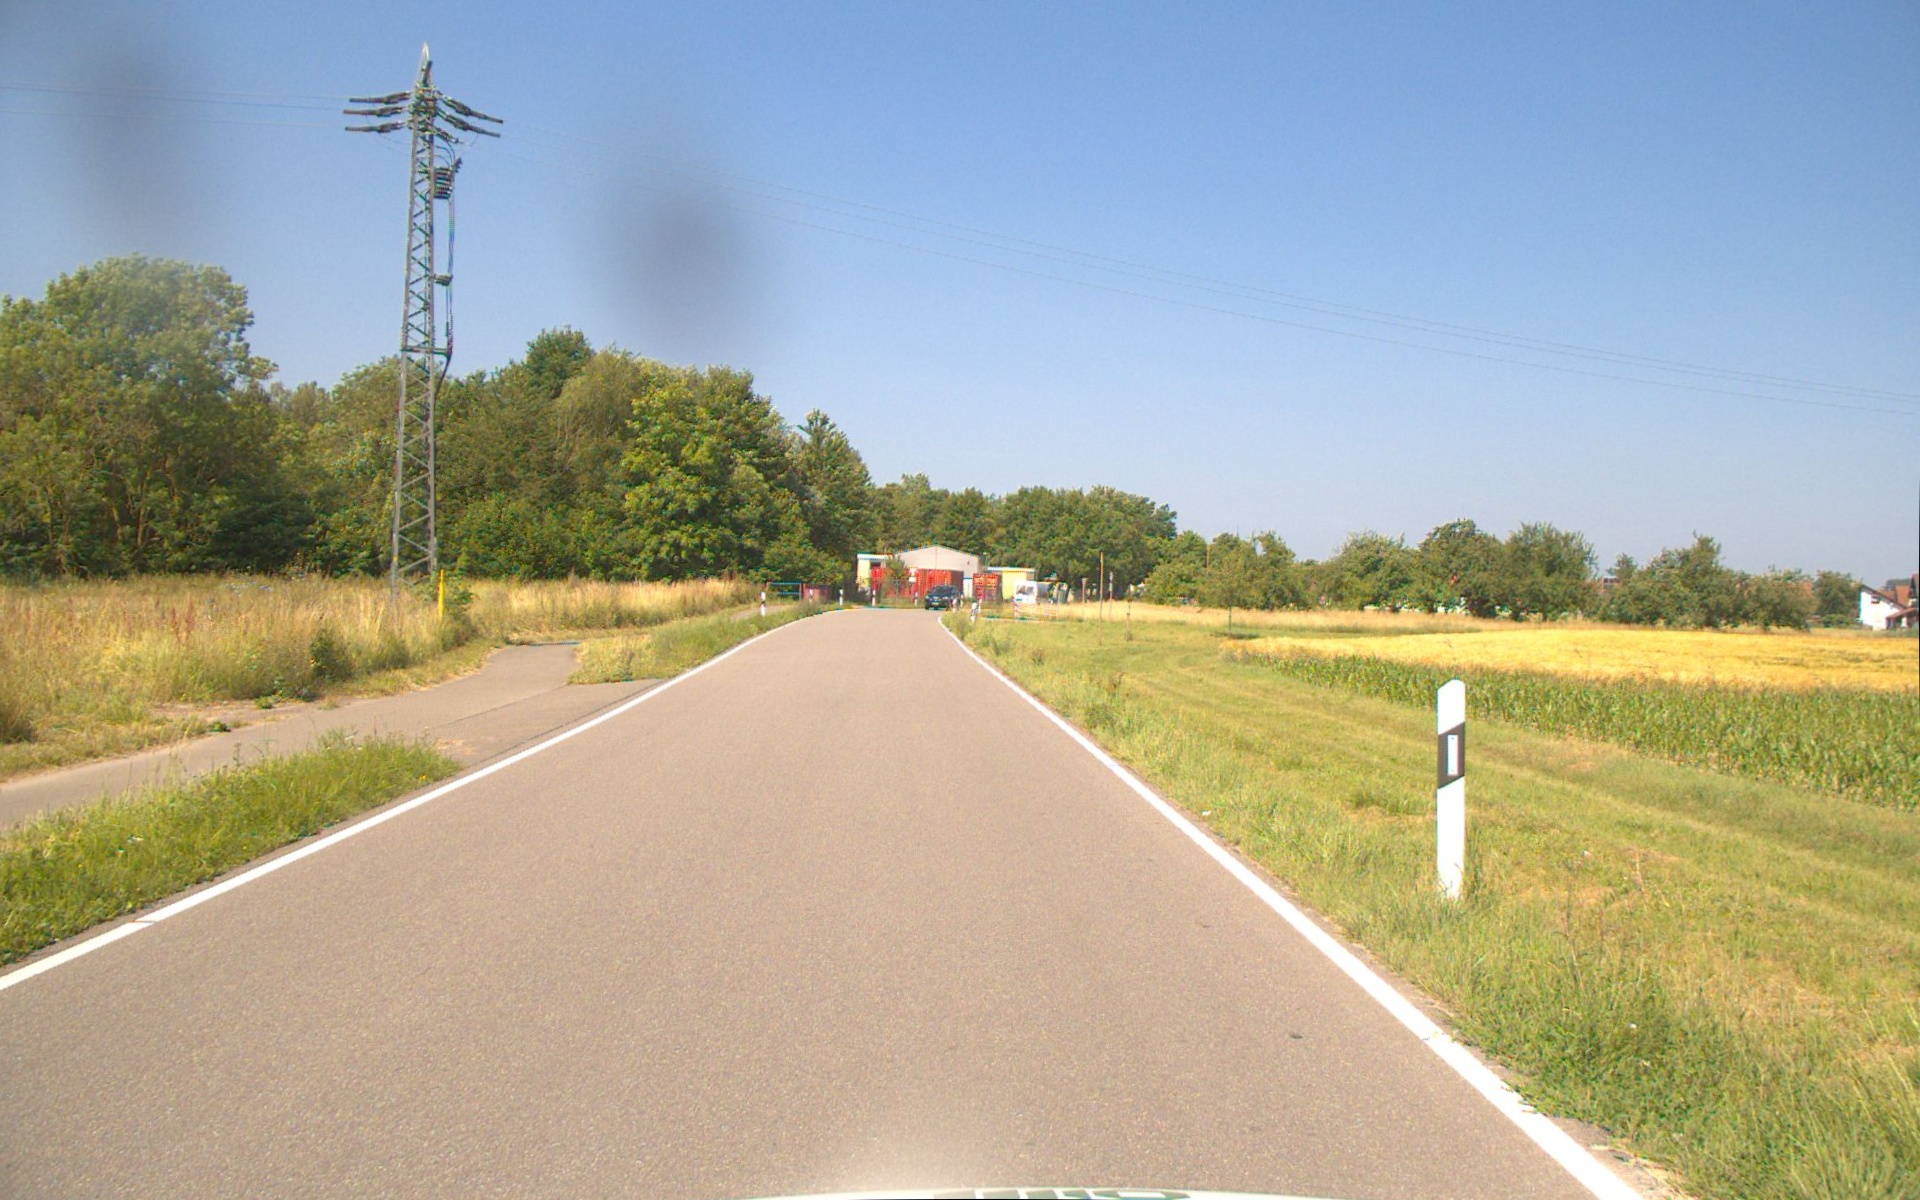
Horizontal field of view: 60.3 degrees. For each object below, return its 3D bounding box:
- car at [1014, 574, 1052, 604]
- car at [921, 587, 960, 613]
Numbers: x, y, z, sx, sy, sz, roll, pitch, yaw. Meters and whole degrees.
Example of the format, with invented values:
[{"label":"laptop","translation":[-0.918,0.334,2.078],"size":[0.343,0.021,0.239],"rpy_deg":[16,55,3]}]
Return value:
[{"label":"car","translation":[5.897,-0.857,133.217],"size":[1.951,2.305,4.729],"rpy_deg":[2,0,16]},{"label":"car","translation":[-1.384,0.024,118.826],"size":[1.826,1.783,4.300],"rpy_deg":[2,0,13]}]
